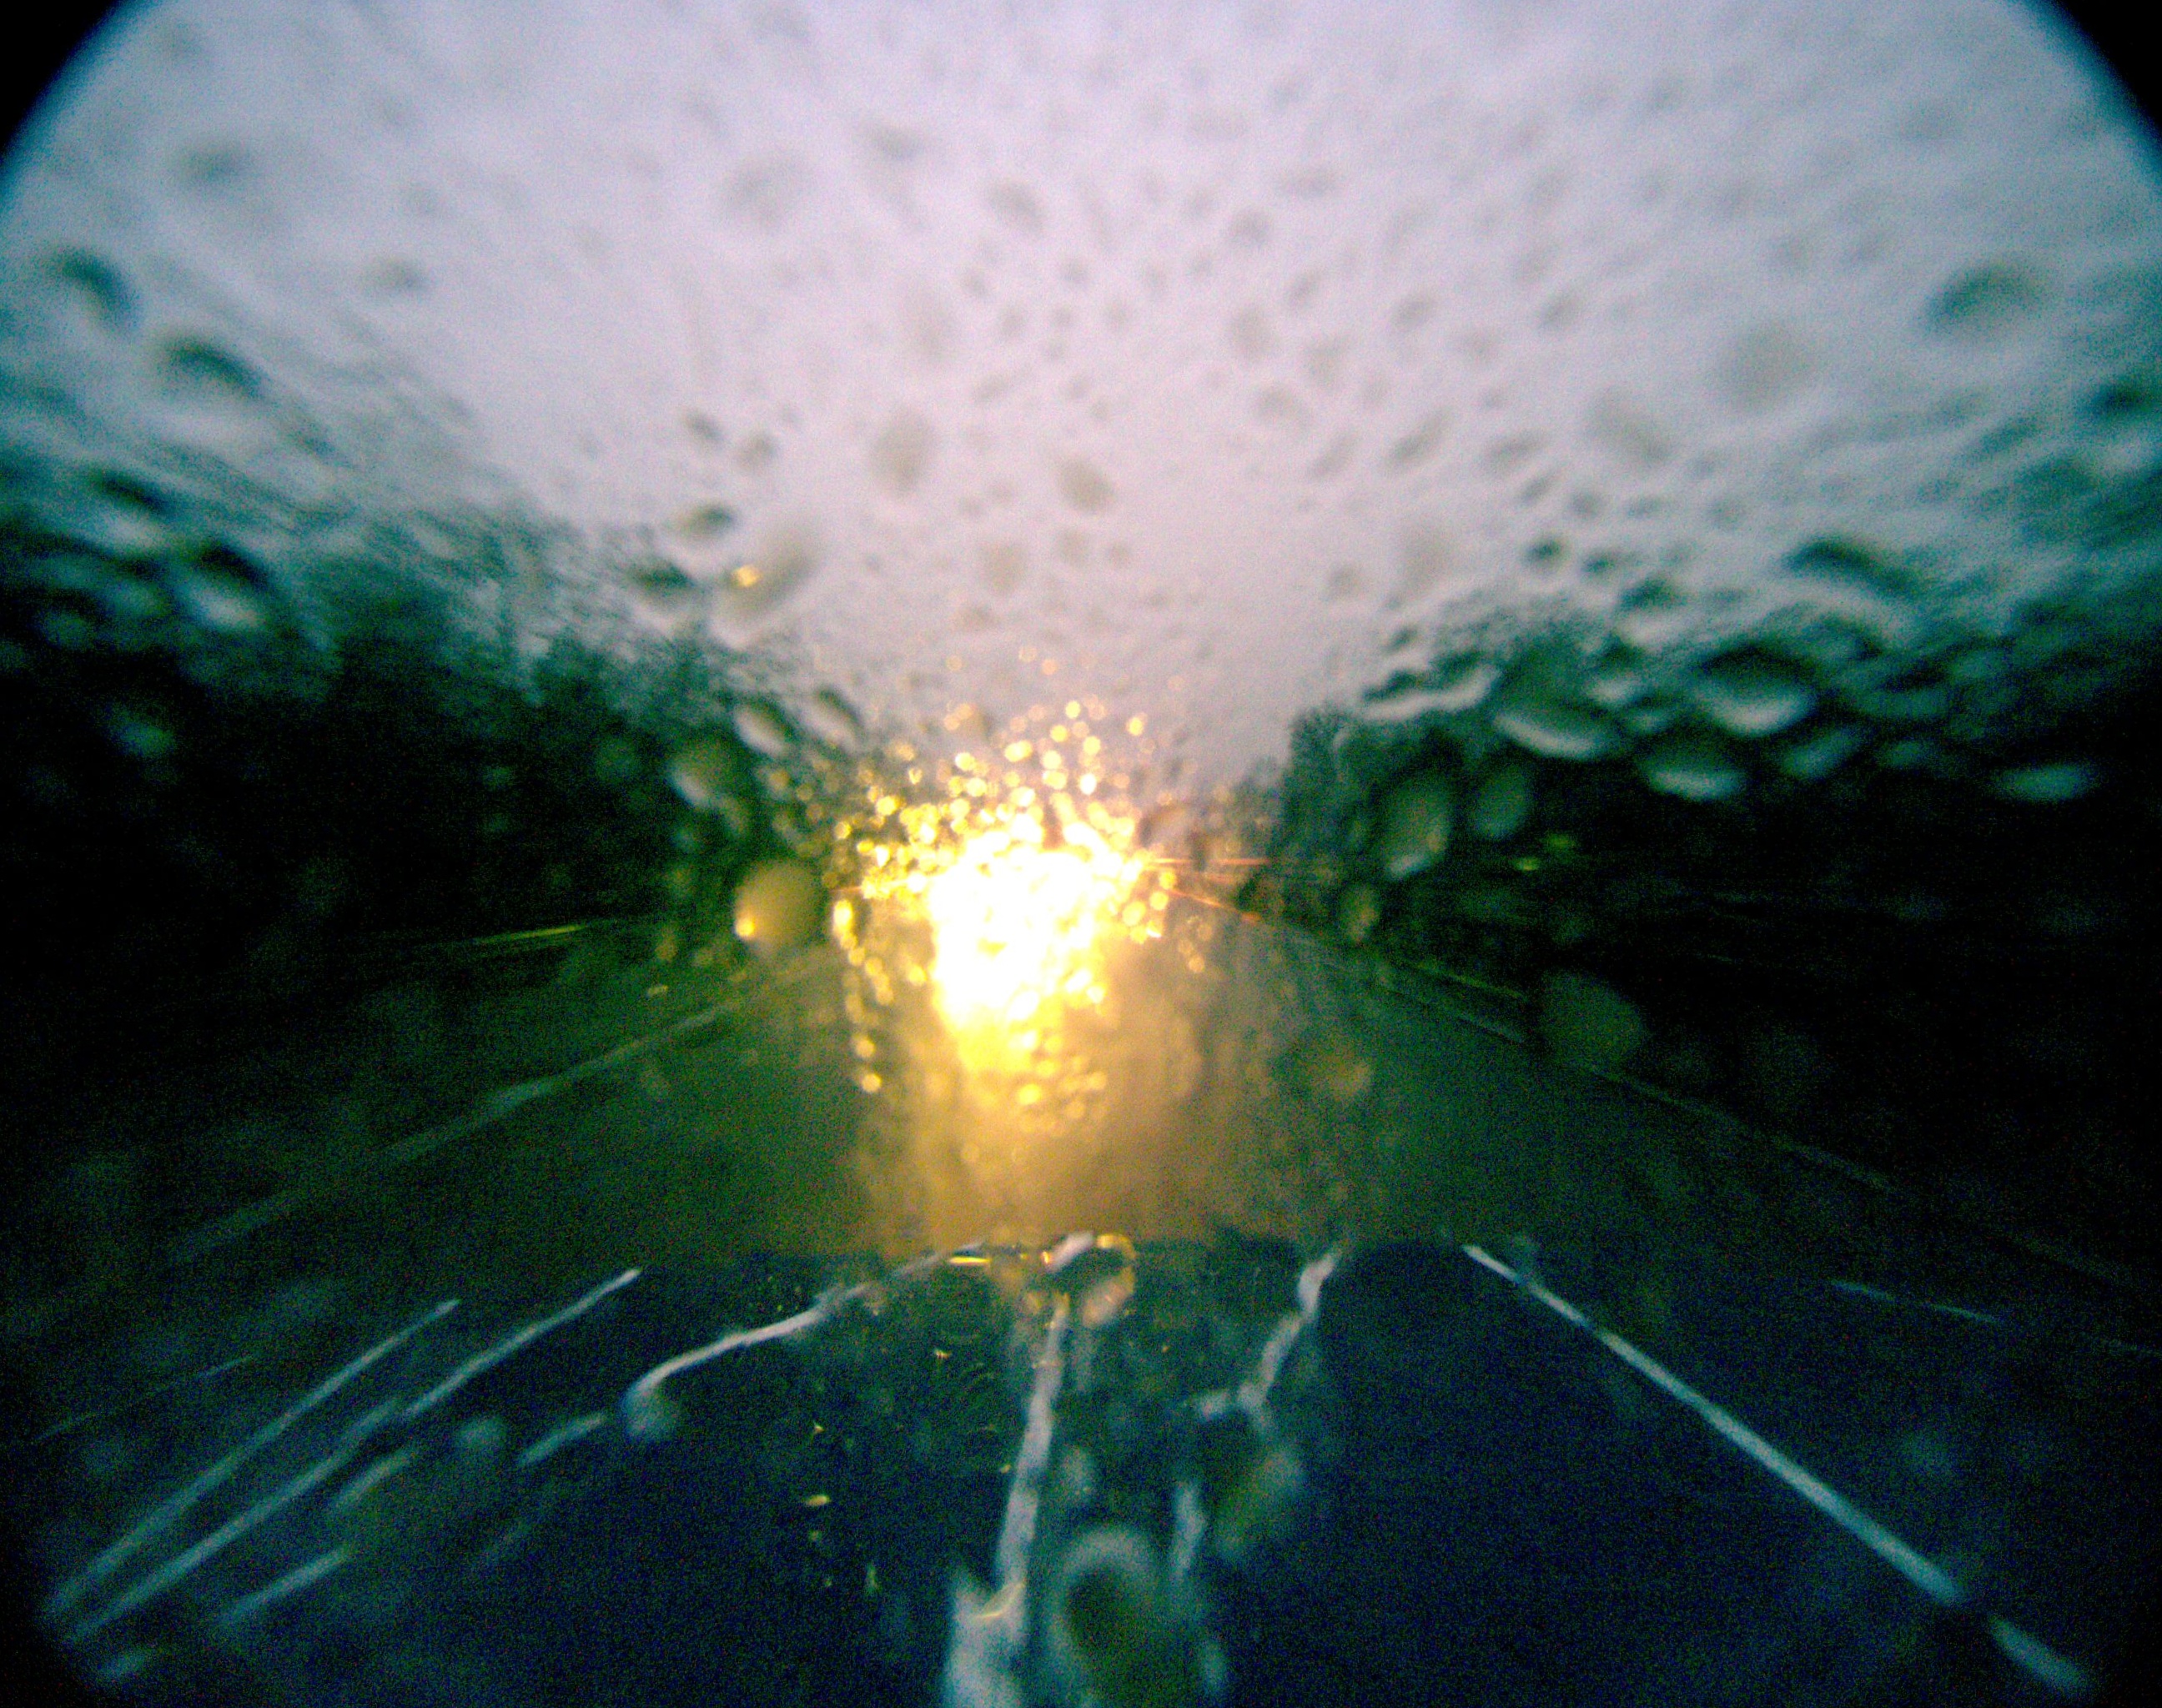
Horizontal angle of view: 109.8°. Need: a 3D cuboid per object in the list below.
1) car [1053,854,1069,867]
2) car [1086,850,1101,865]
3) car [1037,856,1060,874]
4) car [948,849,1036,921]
[{"bbox_3d":[-2.391,0.761,93.092,1.741,1.441,4.000,-2,0,1],"label":"car"},{"bbox_3d":[1.652,0.478,101.683,1.767,1.922,3.998,-2,1,-3],"label":"car"},{"bbox_3d":[-2.682,0.866,63.173,1.603,1.358,3.305,-3,0,2],"label":"car"},{"bbox_3d":[-2.432,0.793,21.667,1.929,1.781,3.940,-2,1,1],"label":"car"}]
